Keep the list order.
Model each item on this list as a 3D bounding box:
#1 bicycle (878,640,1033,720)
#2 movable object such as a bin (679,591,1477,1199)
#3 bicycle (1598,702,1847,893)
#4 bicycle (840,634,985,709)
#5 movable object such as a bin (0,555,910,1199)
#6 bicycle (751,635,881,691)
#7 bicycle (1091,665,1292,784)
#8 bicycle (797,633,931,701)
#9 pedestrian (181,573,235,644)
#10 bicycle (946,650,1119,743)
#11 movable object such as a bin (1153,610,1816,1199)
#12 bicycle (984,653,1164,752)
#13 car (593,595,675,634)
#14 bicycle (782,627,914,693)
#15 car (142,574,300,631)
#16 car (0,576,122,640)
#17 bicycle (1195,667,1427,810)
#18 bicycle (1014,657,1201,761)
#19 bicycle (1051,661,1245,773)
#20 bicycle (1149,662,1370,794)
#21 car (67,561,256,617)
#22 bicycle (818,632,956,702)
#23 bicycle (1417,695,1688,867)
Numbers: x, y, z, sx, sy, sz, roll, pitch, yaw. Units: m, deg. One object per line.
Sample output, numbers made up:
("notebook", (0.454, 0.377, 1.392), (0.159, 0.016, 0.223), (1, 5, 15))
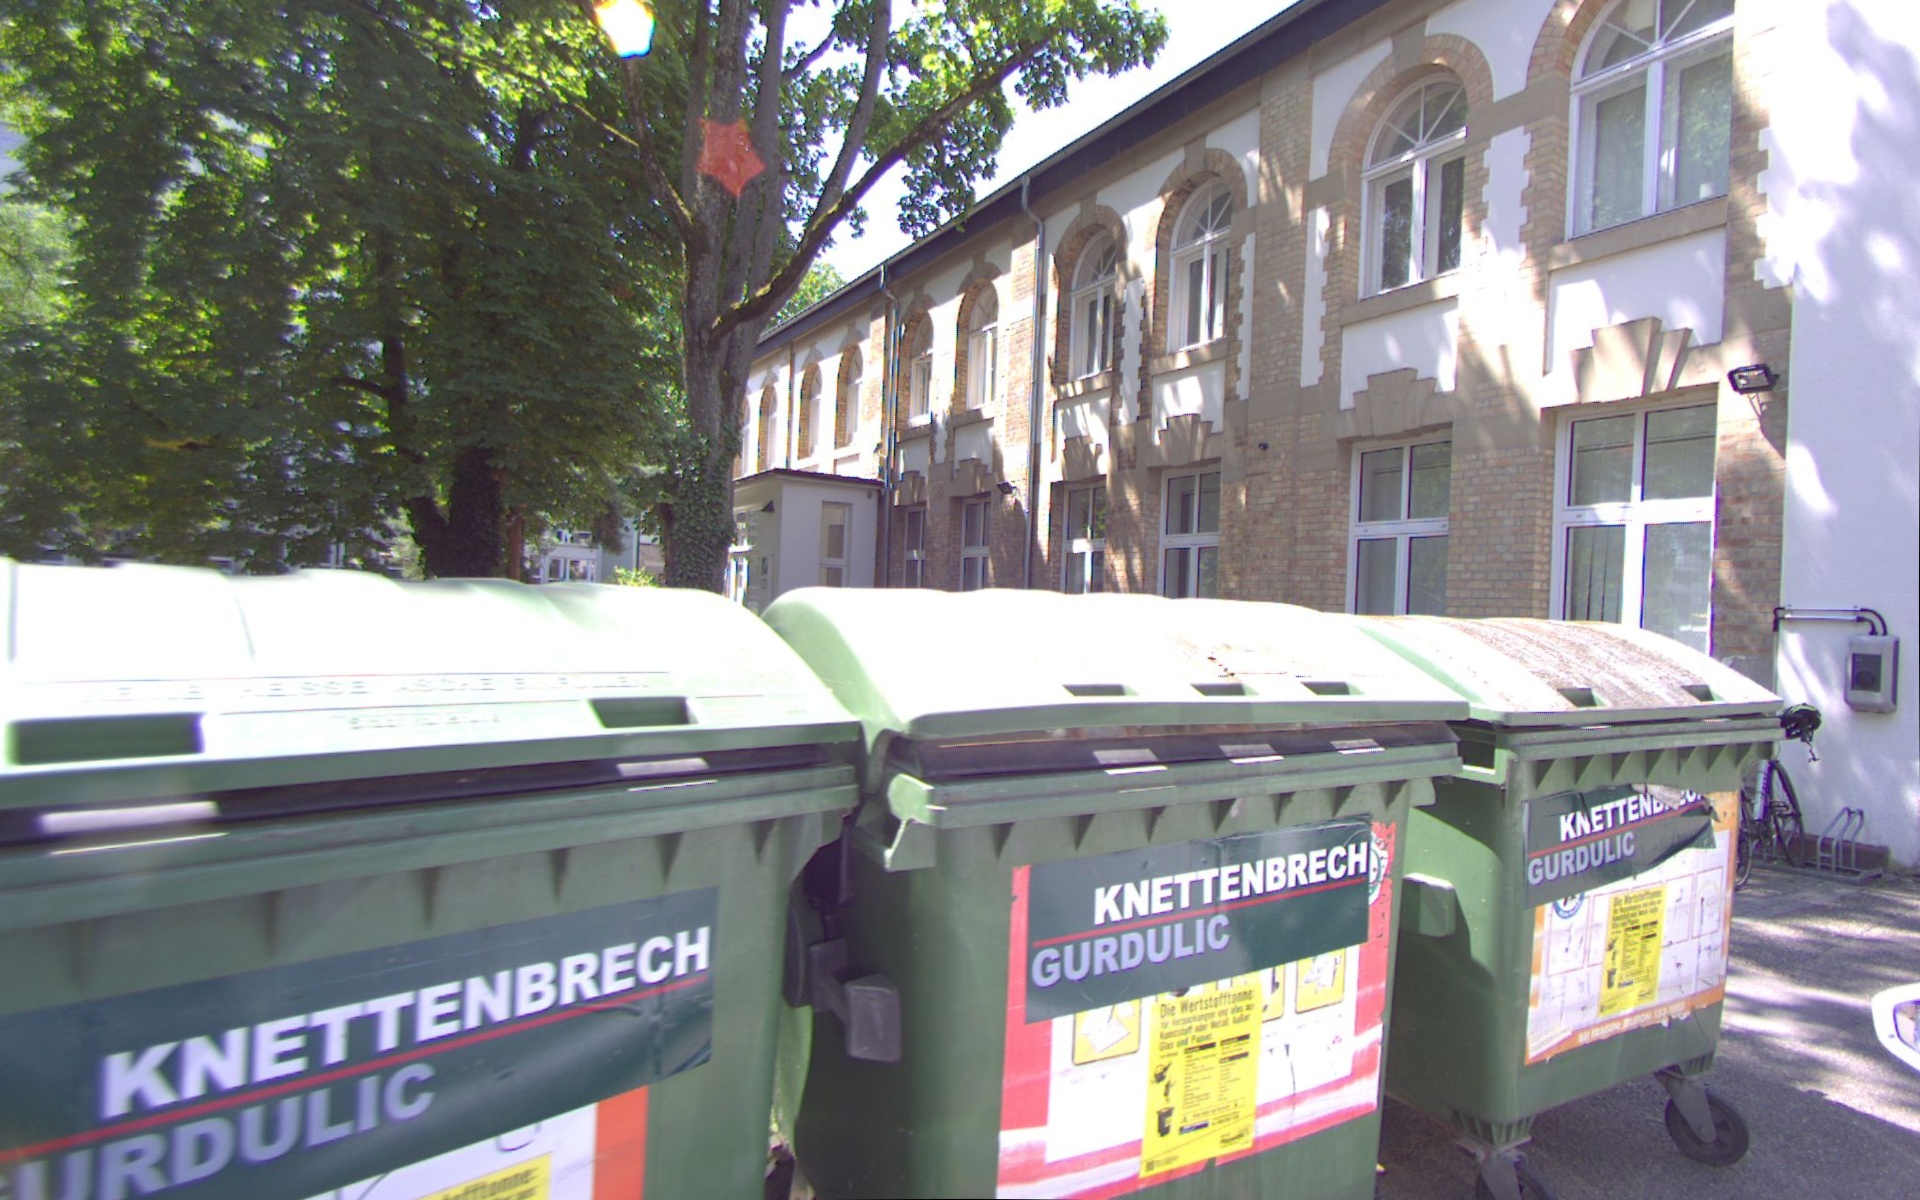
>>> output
("bicycle", (-0.037, 1.103, 14.227), (2.237, 1.025, 0.601), (2, 0, -36))
("movable object such as a bin", (0.196, 0.759, 2.083), (1.247, 1.499, 1.039), (2, -1, -31))
("bicycle", (4.779, 1.166, 6.270), (1.709, 0.971, 0.609), (2, 0, -30))
("bicycle", (-0.677, 1.049, 15.098), (2.241, 1.025, 0.600), (2, 0, -40))
("movable object such as a bin", (-0.953, 0.717, 1.433), (1.351, 1.499, 1.082), (3, -1, -44))
("bicycle", (-2.487, 1.087, 17.568), (2.241, 0.902, 0.648), (2, 0, -40))
("bicycle", (2.350, 1.191, 10.021), (2.237, 1.025, 0.601), (2, 0, -36))
("bicycle", (-1.541, 1.076, 16.453), (2.241, 1.025, 0.563), (2, 0, -40))
("pedestrian", (-17.330, 0.202, 23.149), (0.685, 1.588, 0.743), (2, 0, 29))
("bicycle", (0.926, 1.143, 12.333), (2.237, 1.025, 0.601), (2, 0, -36))
("movable object such as a bin", (1.440, 0.806, 2.824), (1.393, 1.499, 1.040), (2, -1, -29))
("bicycle", (1.363, 1.154, 11.719), (2.237, 1.025, 0.601), (2, 0, -36))
("car", (-18.476, 0.804, 56.984), (3.919, 2.040, 2.001), (2, -1, 14))
("bicycle", (-1.866, 1.000, 17.023), (2.241, 1.025, 0.625), (2, 0, -40))
("car", (-29.168, 0.127, 39.789), (4.545, 2.040, 1.998), (2, -1, -7))
("car", (-32.018, 0.239, 34.414), (4.554, 2.040, 1.994), (2, -1, -15))
("bicycle", (3.138, 1.165, 8.881), (2.233, 1.096, 0.602), (2, 0, -30))
("bicycle", (1.673, 1.165, 11.148), (2.237, 1.025, 0.601), (2, 0, -36))
("bicycle", (2.019, 1.184, 10.584), (2.237, 1.025, 0.601), (2, 0, -36))
("bicycle", (2.850, 1.153, 9.451), (2.233, 1.096, 0.602), (2, 0, -30))
("car", (-25.867, -0.329, 32.711), (1.963, 1.628, 4.394), (2, 0, 28))
("bicycle", (-1.128, 1.046, 15.965), (2.241, 1.025, 0.600), (2, 0, -40))
("bicycle", (4.186, 1.197, 7.030), (2.233, 0.971, 0.602), (2, 0, -30))
